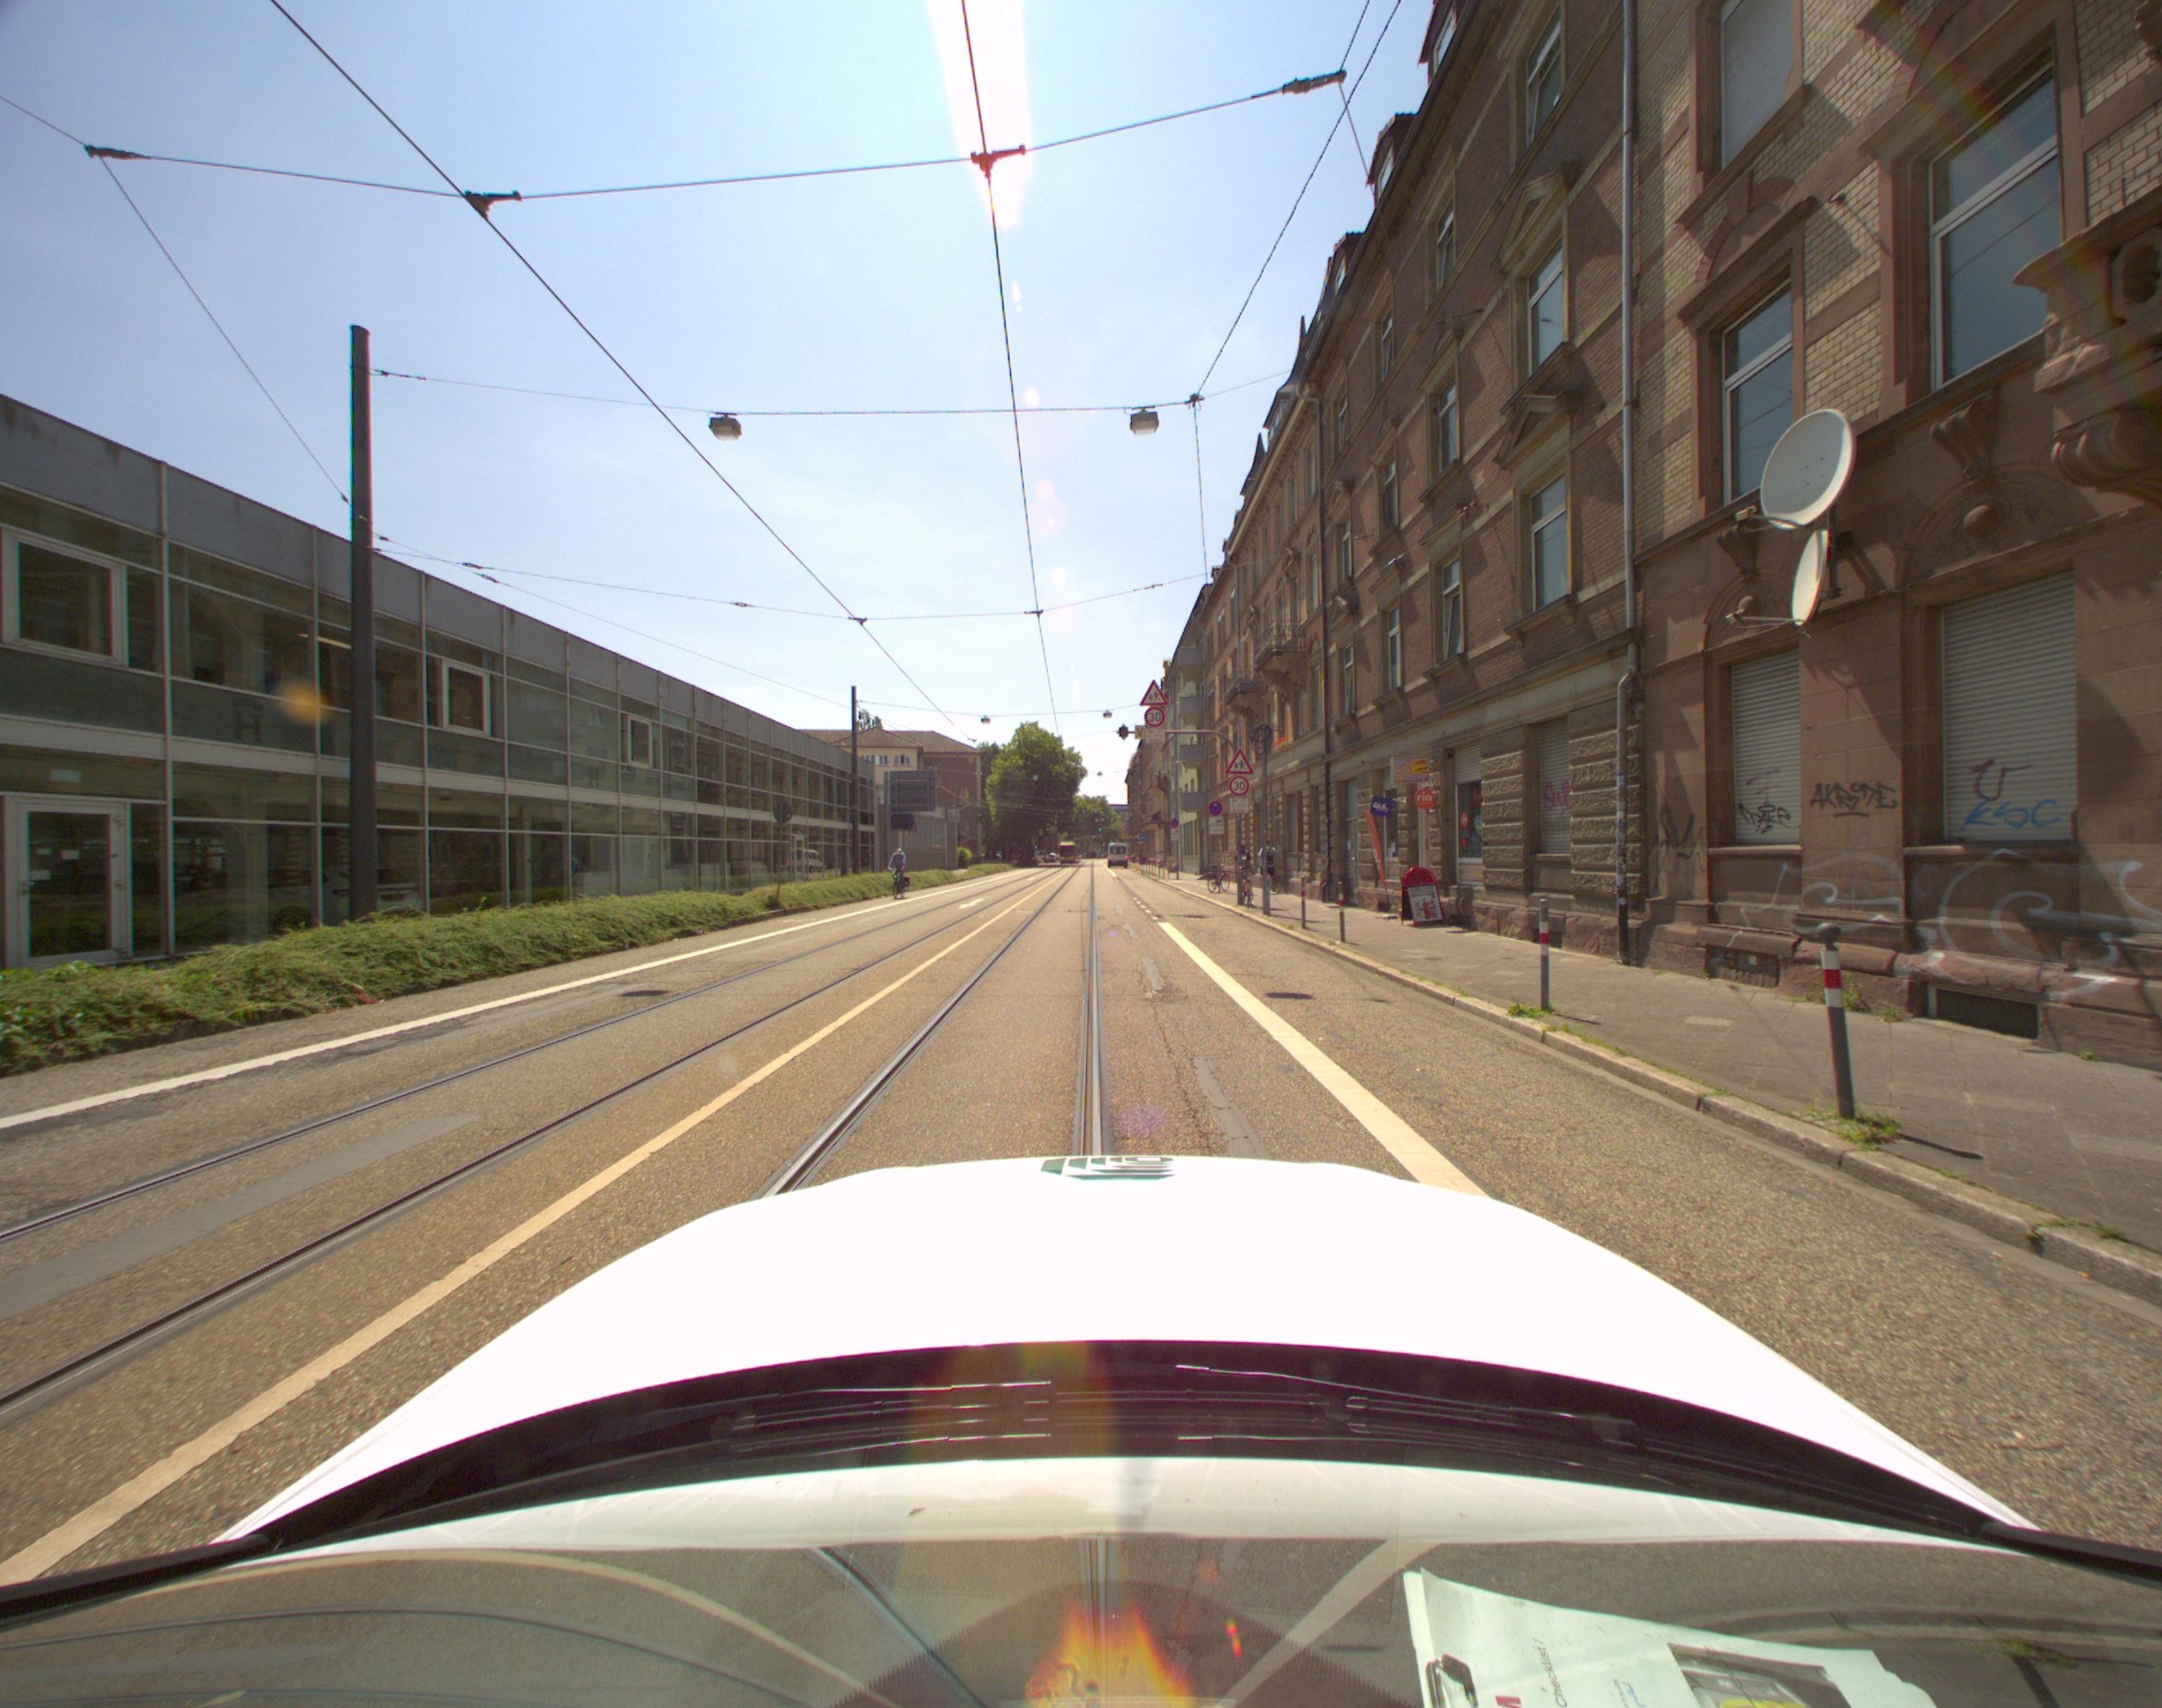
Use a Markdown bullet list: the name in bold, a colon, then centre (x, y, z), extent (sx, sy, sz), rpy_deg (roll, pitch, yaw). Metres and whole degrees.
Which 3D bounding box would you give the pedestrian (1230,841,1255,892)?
- **pedestrian**: centre (5.618, 0.431, 28.335), extent (0.717, 1.720, 0.644), rpy_deg (-1, 0, 2)

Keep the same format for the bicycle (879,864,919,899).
- **bicycle**: centre (-6.605, 0.973, 29.698), extent (0.695, 1.144, 2.498), rpy_deg (-1, 0, 4)

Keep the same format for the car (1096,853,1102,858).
- **car**: centre (5.152, 0.374, 235.444), extent (1.524, 1.408, 3.487), rpy_deg (0, 0, -1)

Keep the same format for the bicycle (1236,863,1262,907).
- **bicycle**: centre (4.630, 0.830, 22.543), extent (0.445, 1.097, 2.427), rpy_deg (-2, 0, 6)

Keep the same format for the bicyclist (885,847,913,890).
- **bicyclist**: centre (-6.626, 0.516, 29.681), extent (0.695, 1.548, 0.981), rpy_deg (-1, 0, 3)

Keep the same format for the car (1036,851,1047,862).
- **car**: centre (-6.483, 0.406, 134.632), extent (1.795, 1.923, 3.998), rpy_deg (0, 0, -1)

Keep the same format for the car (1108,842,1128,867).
- **car**: centre (3.810, 0.018, 84.421), extent (2.059, 2.501, 5.456), rpy_deg (0, 0, 2)

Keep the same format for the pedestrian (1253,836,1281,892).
- **pedestrian**: centre (6.451, 0.346, 28.237), extent (0.700, 1.849, 0.644), rpy_deg (-5, 0, 2)

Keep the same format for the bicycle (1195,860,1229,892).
- **bicycle**: centre (4.960, 0.816, 30.630), extent (0.494, 1.130, 2.257), rpy_deg (-2, 0, 29)

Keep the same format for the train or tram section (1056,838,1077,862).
- **train or tram section**: centre (-2.188, -0.649, 127.737), extent (2.951, 3.580, 13.423), rpy_deg (-1, 0, 0)
